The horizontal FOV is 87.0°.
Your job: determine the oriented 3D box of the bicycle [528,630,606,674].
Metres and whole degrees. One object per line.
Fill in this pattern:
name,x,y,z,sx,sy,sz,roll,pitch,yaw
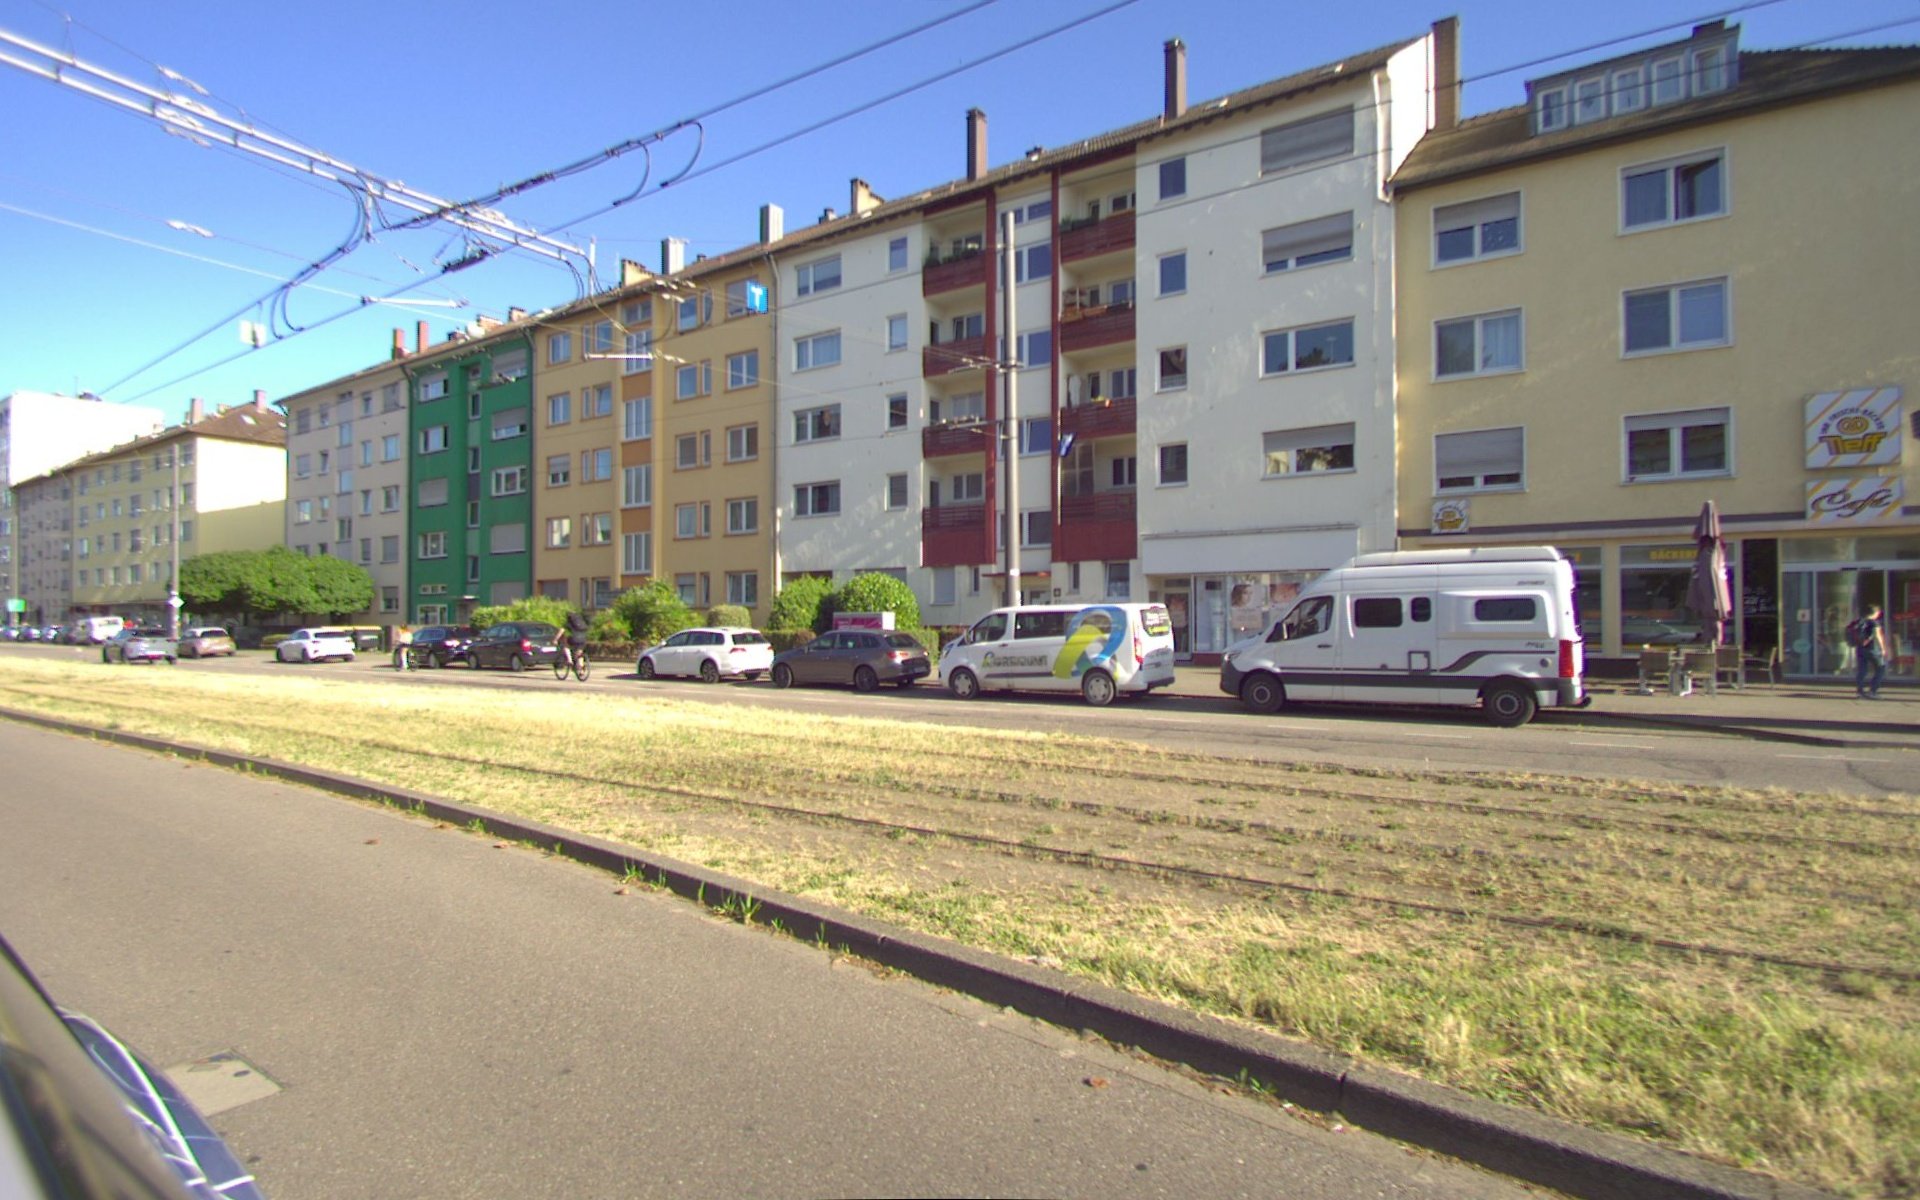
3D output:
bicycle,-10.911,1.417,28.051,2.469,1.155,0.761,-1,-3,36

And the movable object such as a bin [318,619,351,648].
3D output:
movable object such as a bin,-31.705,1.690,51.301,1.038,1.378,1.136,0,2,38

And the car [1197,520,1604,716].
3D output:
car,7.455,0.277,17.613,6.217,2.890,2.014,-1,0,37

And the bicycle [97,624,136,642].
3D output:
bicycle,-60.854,2.370,73.059,0.471,1.114,2.079,-1,1,35

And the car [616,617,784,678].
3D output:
car,-7.287,1.252,28.147,4.690,1.503,1.877,-1,1,34

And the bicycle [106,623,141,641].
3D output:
bicycle,-59.277,2.254,71.729,0.389,1.114,1.803,-1,1,35

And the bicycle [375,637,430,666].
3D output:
bicycle,-18.541,1.700,33.630,2.064,0.886,0.761,-1,-3,36

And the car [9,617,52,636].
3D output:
car,-78.116,2.204,85.030,4.405,1.431,1.768,-1,1,35

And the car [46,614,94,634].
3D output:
car,-69.009,1.830,78.462,4.586,1.485,1.768,-1,1,35

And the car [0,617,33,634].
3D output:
car,-82.542,2.228,87.997,4.403,1.395,1.769,-1,1,34

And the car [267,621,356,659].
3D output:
car,-27.554,1.676,42.975,4.367,1.465,1.713,-1,0,36

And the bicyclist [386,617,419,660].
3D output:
bicyclist,-18.516,1.273,33.611,0.647,1.394,0.766,-1,-1,36

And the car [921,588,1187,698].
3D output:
car,1.902,0.828,21.556,5.361,2.036,2.014,-1,1,37

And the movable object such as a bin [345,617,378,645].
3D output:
movable object such as a bin,-30.940,1.574,52.330,1.038,1.378,1.136,0,2,38

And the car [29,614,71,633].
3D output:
car,-73.681,1.909,81.924,3.760,1.395,1.768,-1,1,35

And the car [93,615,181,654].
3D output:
car,-32.345,1.335,39.755,4.209,1.459,1.679,-1,-2,37

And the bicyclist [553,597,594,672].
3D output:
bicyclist,-10.701,0.943,28.038,0.647,2.028,0.766,-1,1,36

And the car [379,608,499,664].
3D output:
car,-18.980,1.250,36.795,4.599,1.851,1.976,-1,1,36

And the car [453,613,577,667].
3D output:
car,-14.950,1.274,33.943,4.142,1.619,1.976,-1,1,36

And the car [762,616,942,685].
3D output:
car,-2.698,1.180,24.916,4.313,1.526,1.681,-1,0,33

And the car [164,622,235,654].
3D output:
car,-37.874,1.842,50.384,3.724,1.453,1.622,-1,1,34

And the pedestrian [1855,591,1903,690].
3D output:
pedestrian,16.551,0.707,18.242,0.611,1.735,0.561,-1,1,41

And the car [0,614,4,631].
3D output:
car,-89.628,2.084,92.983,4.190,1.497,1.743,-1,1,35

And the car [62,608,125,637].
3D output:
car,-64.343,1.643,75.117,5.483,1.964,1.978,-1,1,33
